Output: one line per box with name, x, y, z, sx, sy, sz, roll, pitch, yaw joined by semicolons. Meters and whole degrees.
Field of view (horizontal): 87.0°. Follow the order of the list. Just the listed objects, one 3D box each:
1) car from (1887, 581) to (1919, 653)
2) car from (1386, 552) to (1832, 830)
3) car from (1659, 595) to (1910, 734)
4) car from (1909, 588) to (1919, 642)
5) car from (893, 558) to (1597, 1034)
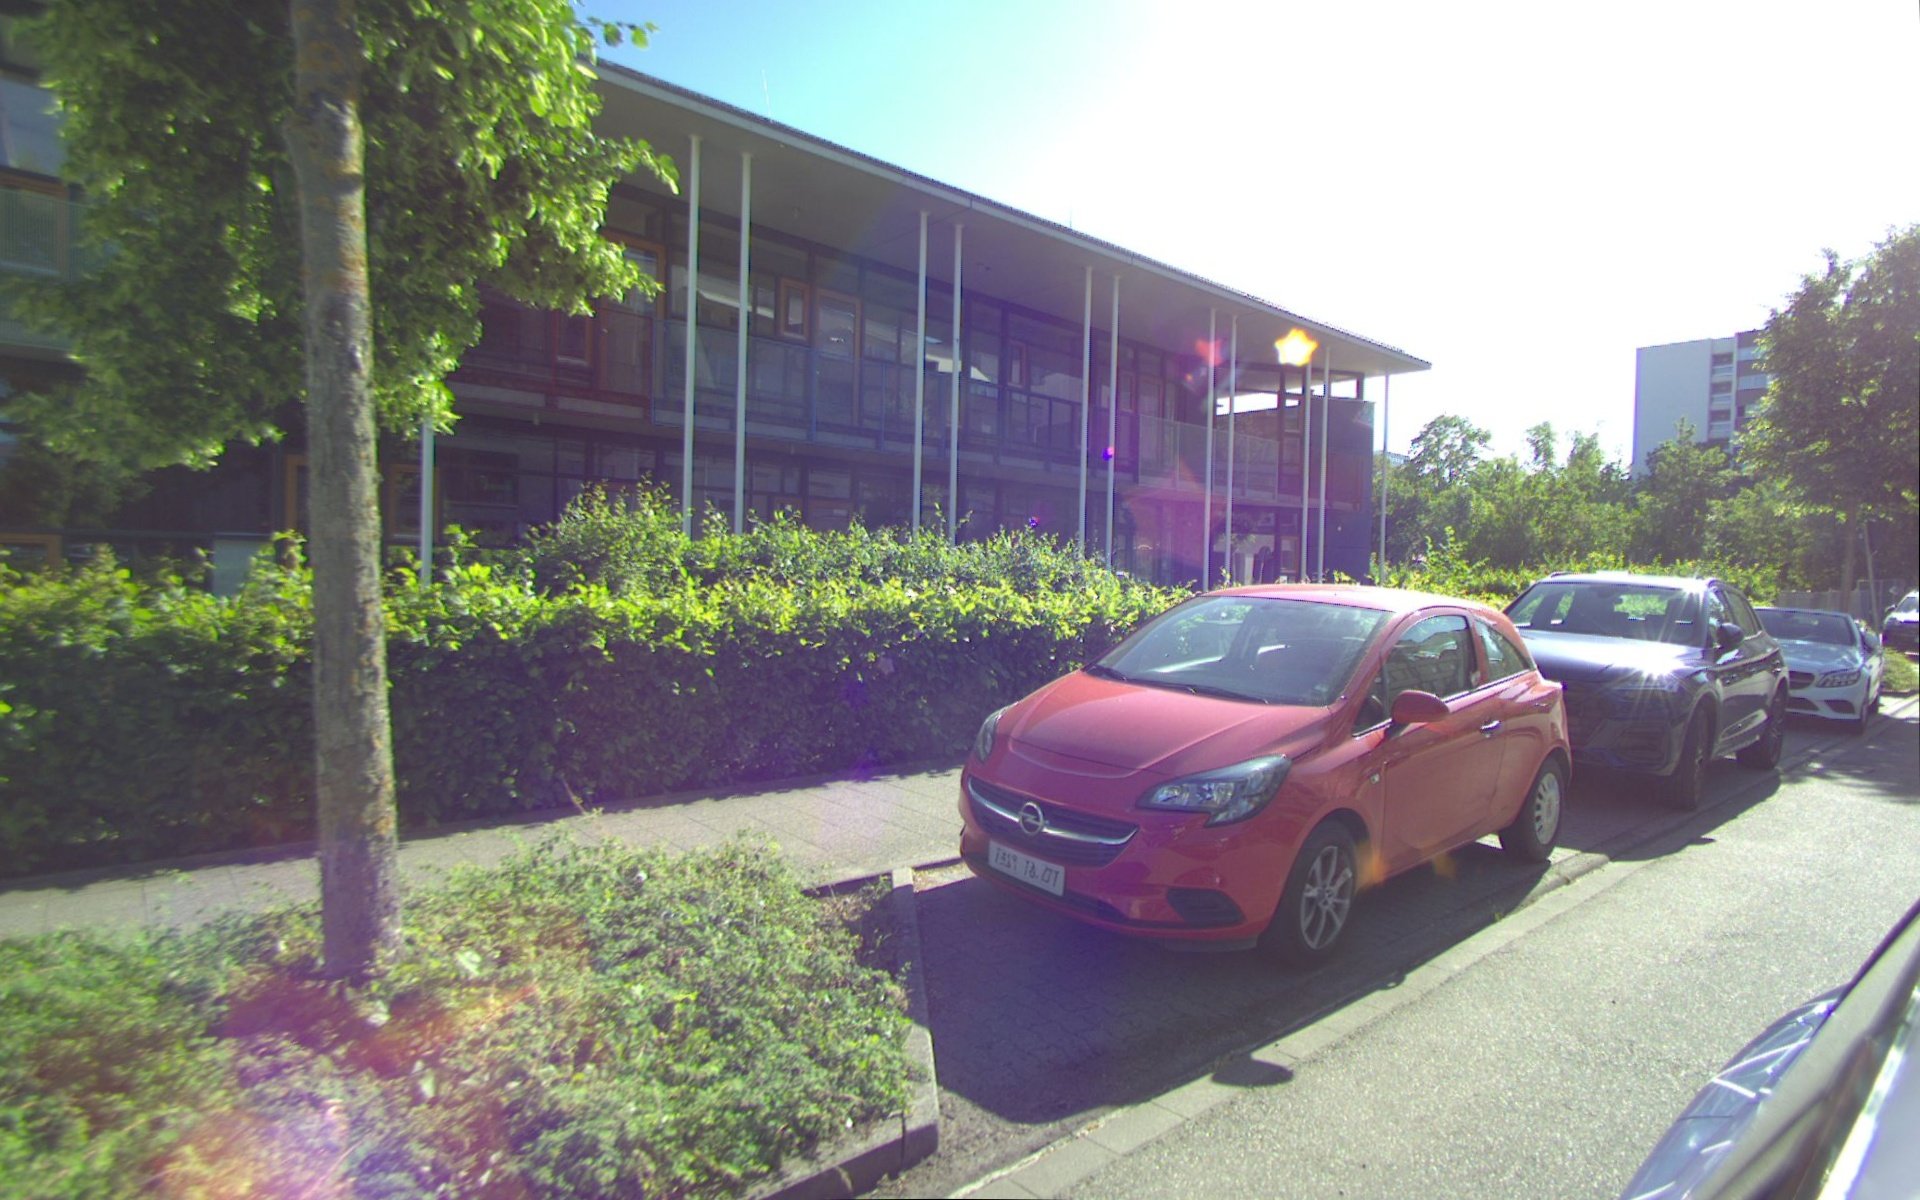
car;24.560;0.437;25.022;4.410;1.667;1.823;0;5;-41
car;5.590;0.530;8.498;4.333;1.703;1.905;0;4;-40
car;10.920;0.684;13.260;4.698;1.335;1.965;-1;5;-44
car;28.443;0.472;28.675;3.775;1.484;1.823;0;5;-41
car;1.671;0.606;5.183;3.780;1.522;1.678;0;3;-42
